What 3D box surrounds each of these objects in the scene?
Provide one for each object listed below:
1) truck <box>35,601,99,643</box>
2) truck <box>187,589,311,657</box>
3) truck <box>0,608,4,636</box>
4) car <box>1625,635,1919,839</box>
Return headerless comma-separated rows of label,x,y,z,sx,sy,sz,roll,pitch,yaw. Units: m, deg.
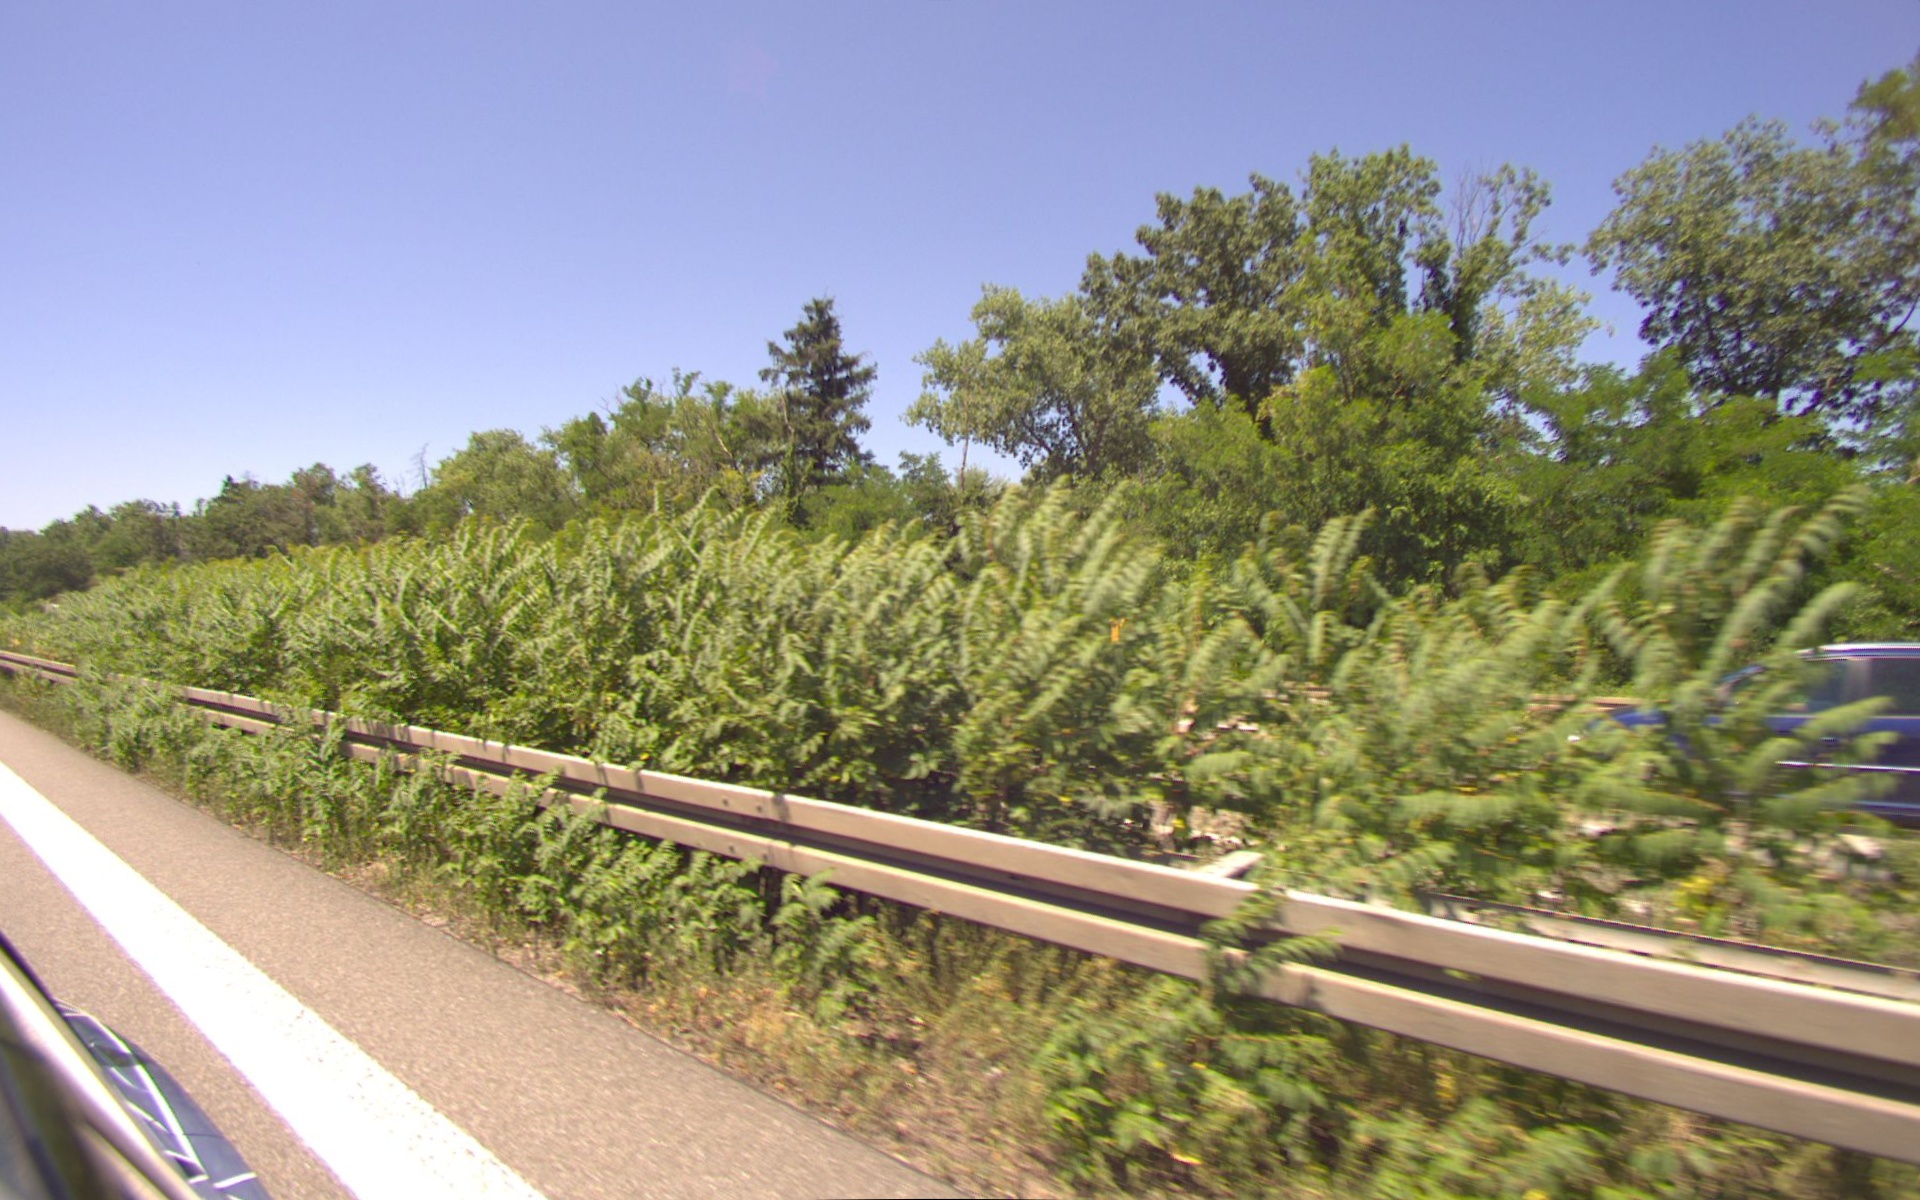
truck,-84.910,2.169,96.099,11.892,3.734,2.869,-1,-4,41
truck,-39.693,1.304,56.281,11.975,3.459,2.758,-1,-3,41
truck,-135.454,3.014,140.673,11.838,3.662,2.512,-1,-4,41
car,8.011,1.118,8.573,3.774,1.562,1.751,-1,-4,41
